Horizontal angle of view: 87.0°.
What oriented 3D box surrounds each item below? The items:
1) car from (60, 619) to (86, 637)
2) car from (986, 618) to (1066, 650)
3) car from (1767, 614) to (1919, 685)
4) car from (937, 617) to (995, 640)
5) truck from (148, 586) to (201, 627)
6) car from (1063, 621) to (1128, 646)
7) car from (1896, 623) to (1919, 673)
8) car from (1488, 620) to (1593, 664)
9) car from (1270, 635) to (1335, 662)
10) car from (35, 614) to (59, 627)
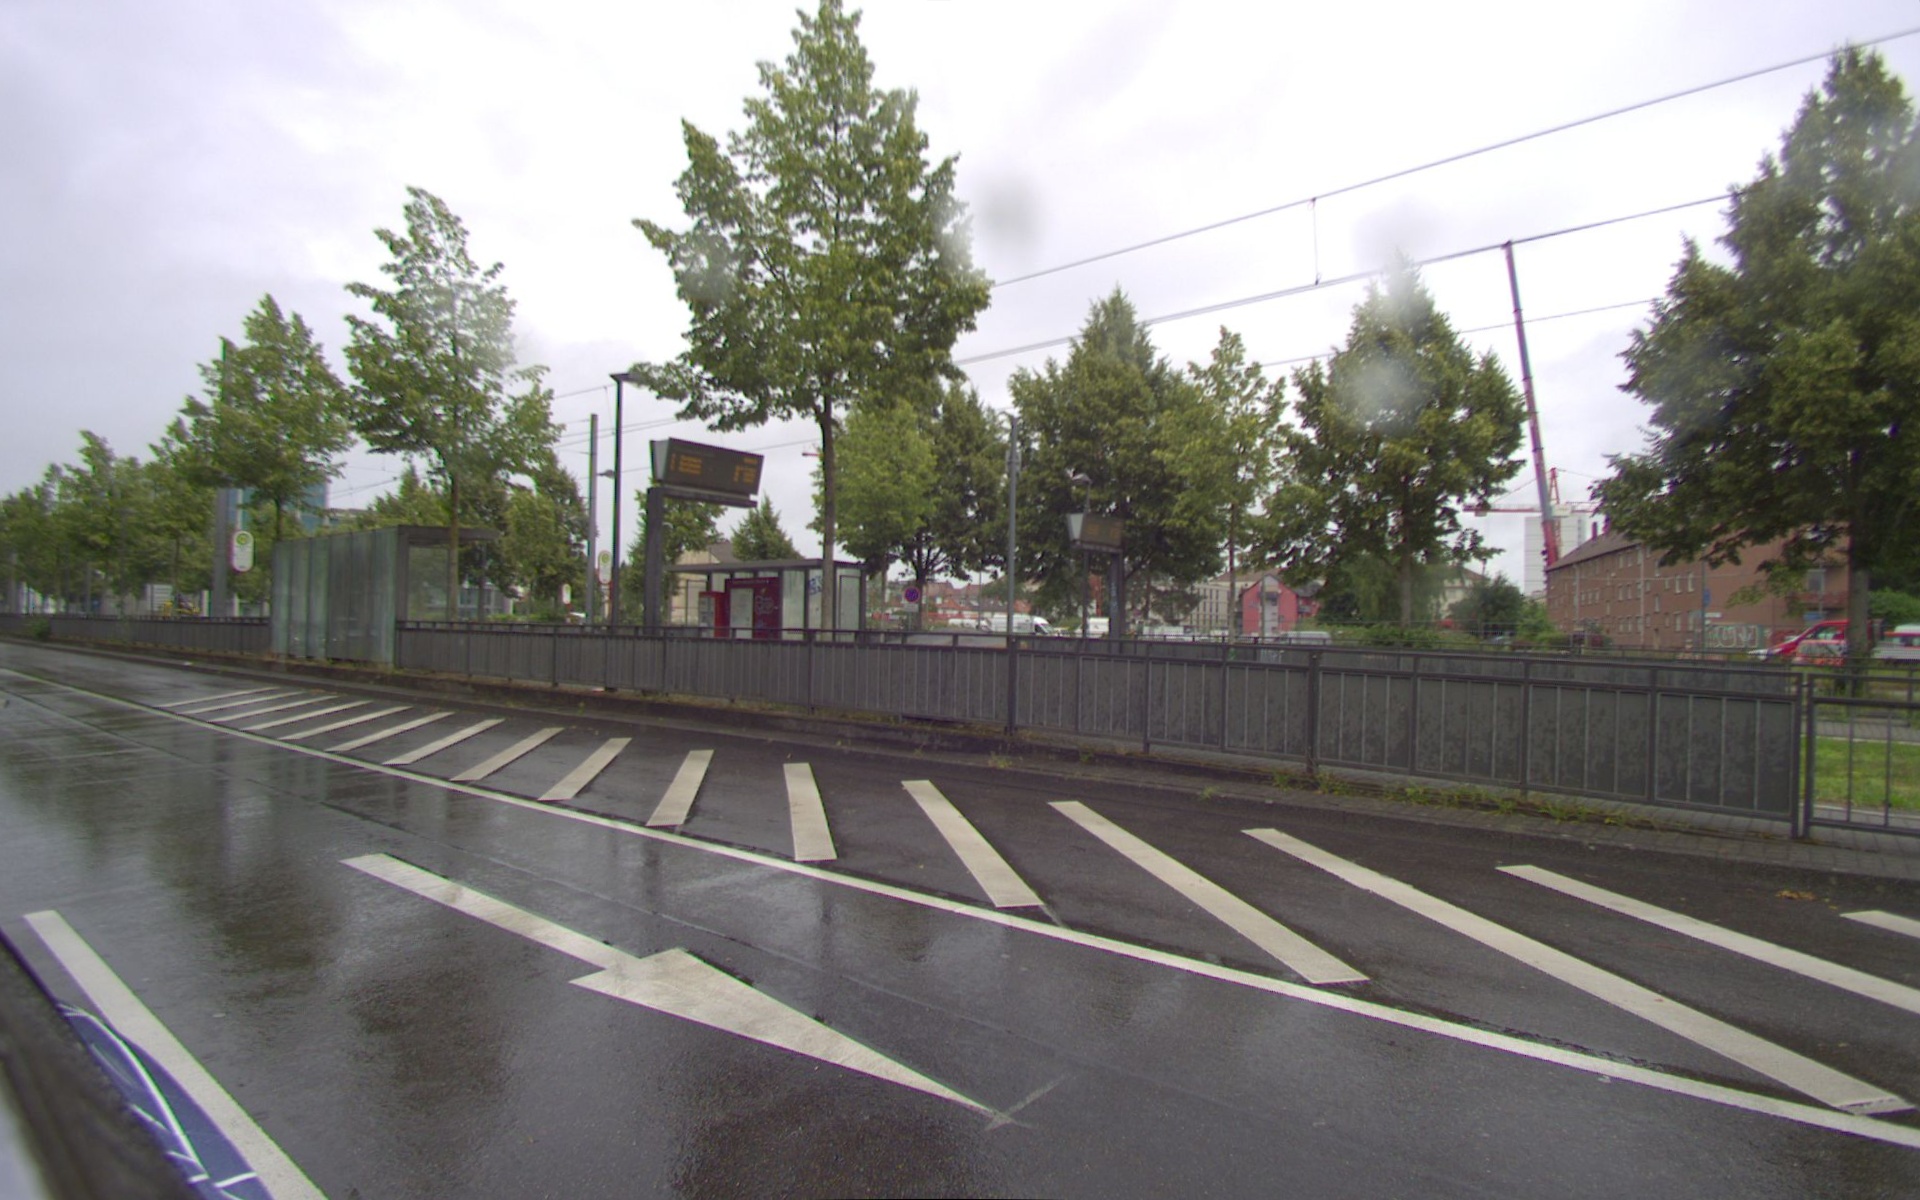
[{"bbox_3d":[-102.148,3.195,116.572,3.998,2.029,1.738,-1,-2,41],"label":"car"},{"bbox_3d":[5.524,2.827,85.704,6.735,2.480,1.975,0,0,37],"label":"car"},{"bbox_3d":[33.582,1.761,36.739,1.597,2.489,6.500,2,-2,-39],"label":"car"},{"bbox_3d":[0.604,2.973,108.313,6.123,2.323,1.978,0,0,32],"label":"car"},{"bbox_3d":[-76.174,0.606,98.101,9.184,3.806,2.657,0,0,43],"label":"truck"},{"bbox_3d":[11.842,2.907,88.644,5.411,2.067,1.976,0,0,37],"label":"car"},{"bbox_3d":[45.928,2.160,44.983,1.597,2.296,6.114,2,-3,-37],"label":"car"},{"bbox_3d":[35.790,2.539,62.500,5.482,2.471,1.976,0,0,36],"label":"car"},{"bbox_3d":[26.335,3.690,77.867,4.415,1.891,1.855,0,0,34],"label":"car"},{"bbox_3d":[-135.601,3.033,150.264,3.995,1.759,1.974,0,0,38],"label":"car"}]
